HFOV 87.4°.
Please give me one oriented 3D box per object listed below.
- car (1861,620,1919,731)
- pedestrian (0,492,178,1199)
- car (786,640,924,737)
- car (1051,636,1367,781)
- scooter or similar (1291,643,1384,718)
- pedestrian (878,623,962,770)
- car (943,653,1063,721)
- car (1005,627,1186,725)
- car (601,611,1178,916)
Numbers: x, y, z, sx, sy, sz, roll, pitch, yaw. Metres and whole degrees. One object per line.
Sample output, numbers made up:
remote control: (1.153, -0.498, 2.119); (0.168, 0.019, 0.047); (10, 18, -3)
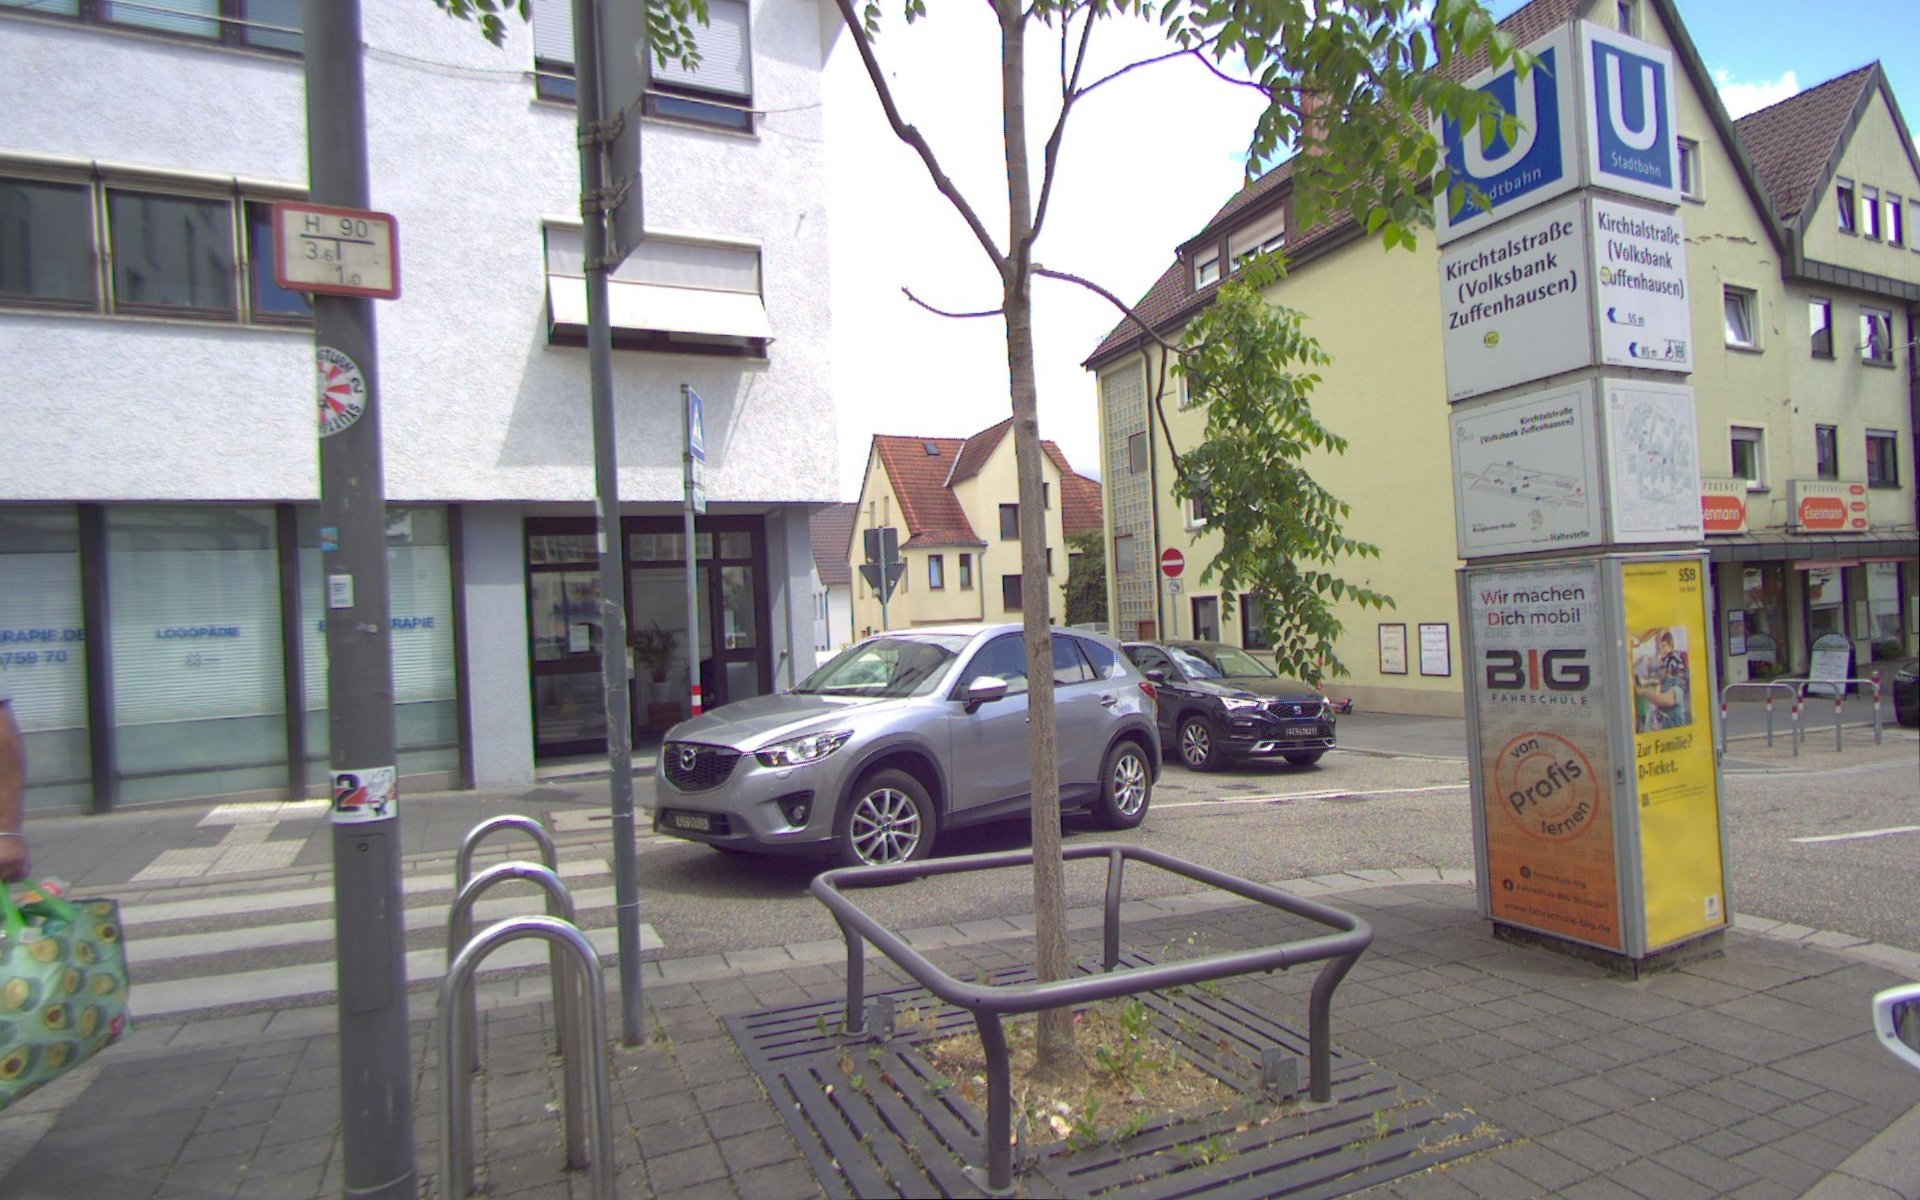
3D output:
car: (17.164, 1.194, 16.582); (4.549, 1.716, 1.999); (0, -1, -28)
pedestrian: (-2.729, 0.665, 2.544); (0.971, 1.811, 0.917); (-3, -3, 35)
car: (-2.404, 1.910, 21.734); (1.839, 1.842, 4.820); (1, -5, -20)
car: (3.099, 1.341, 13.533); (1.888, 1.589, 4.349); (0, -3, -23)
scooter or similar: (7.085, 1.499, 18.912); (0.582, 1.297, 1.586); (-4, -2, -26)
pedestrian: (-0.507, 1.187, 12.543); (0.826, 1.761, 0.634); (1, -4, -30)
car: (1.063, 2.368, 27.307); (1.711, 1.649, 4.336); (1, -5, -20)
car: (2.855, 1.717, 22.309); (1.971, 1.829, 4.333); (-3, -4, -23)
car: (-0.259, 0.968, 7.719); (1.941, 1.642, 4.333); (-2, -3, 41)
